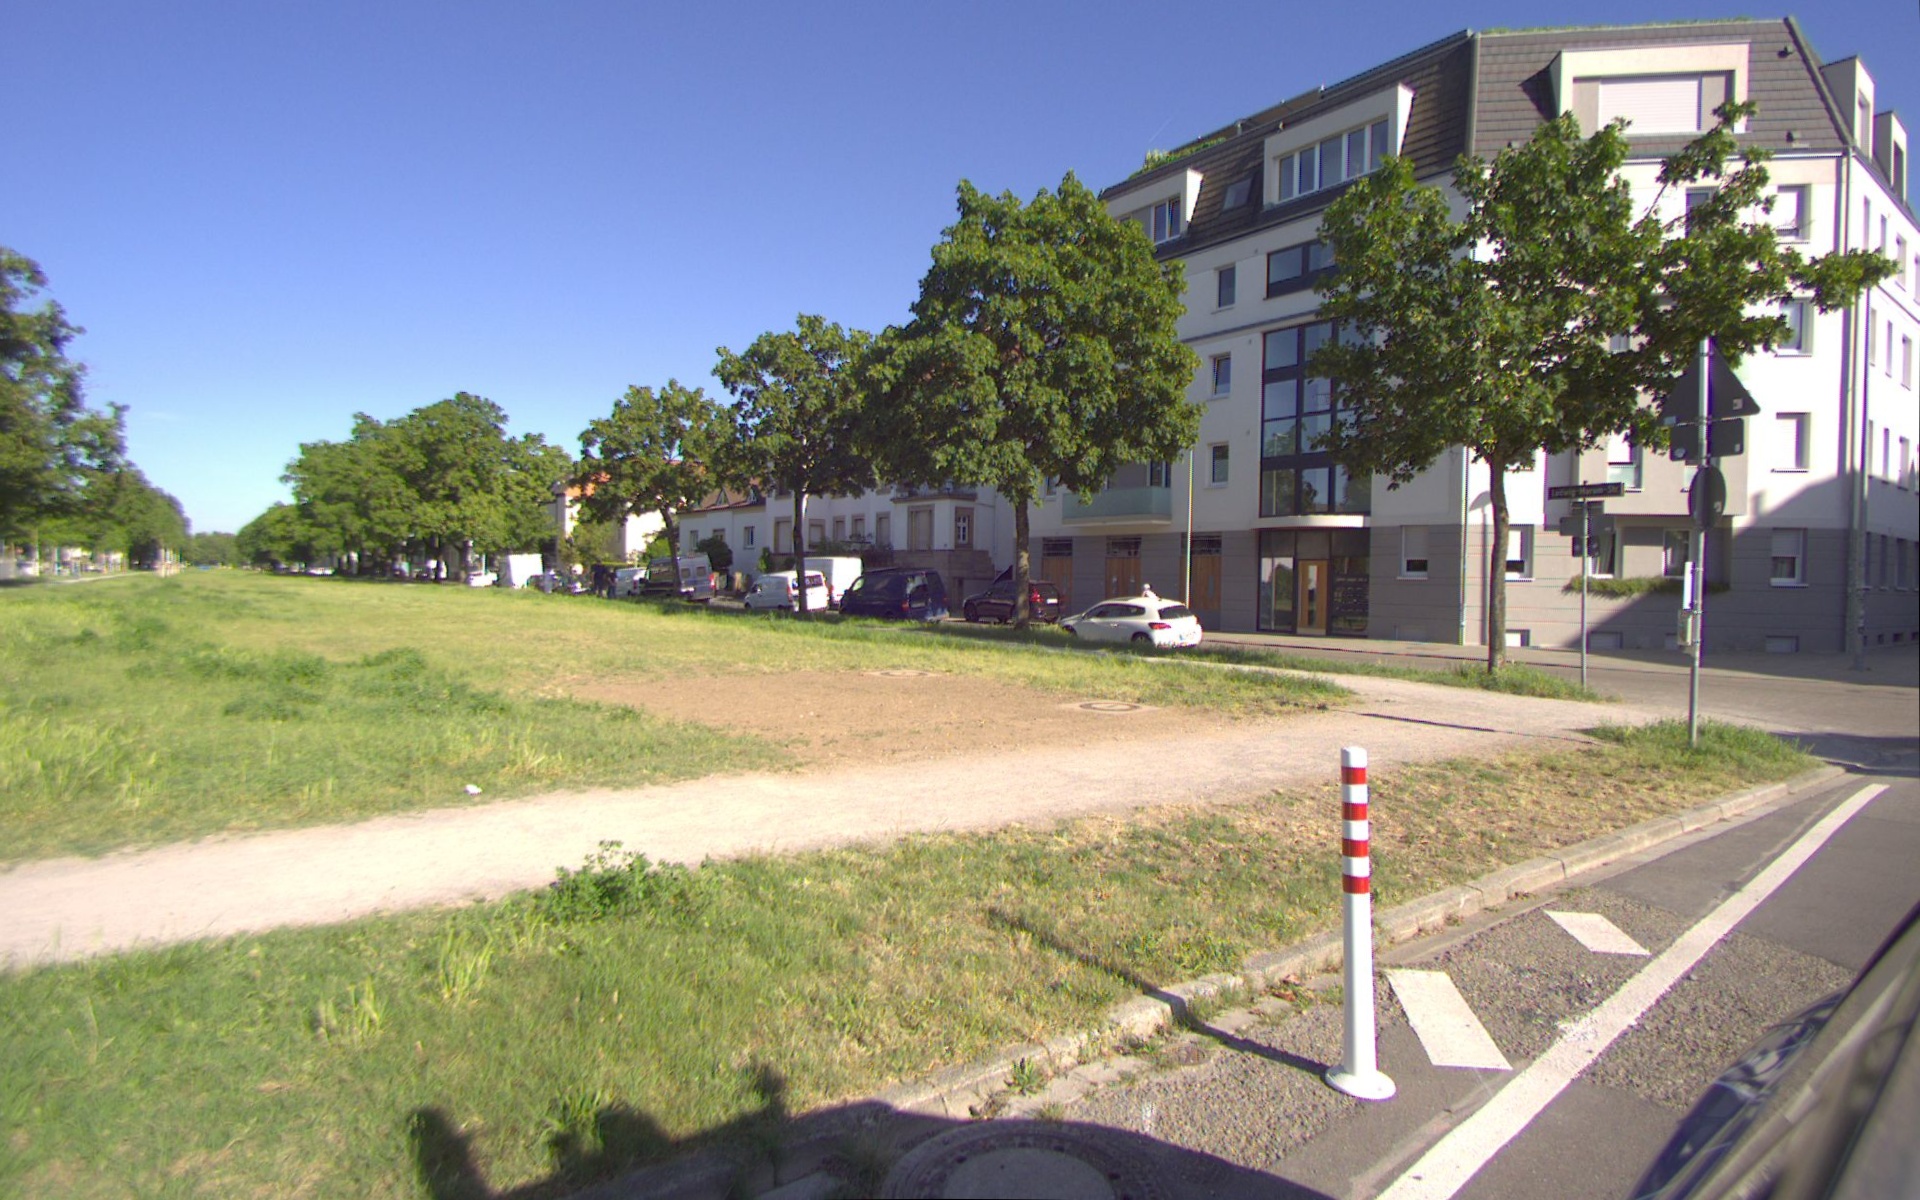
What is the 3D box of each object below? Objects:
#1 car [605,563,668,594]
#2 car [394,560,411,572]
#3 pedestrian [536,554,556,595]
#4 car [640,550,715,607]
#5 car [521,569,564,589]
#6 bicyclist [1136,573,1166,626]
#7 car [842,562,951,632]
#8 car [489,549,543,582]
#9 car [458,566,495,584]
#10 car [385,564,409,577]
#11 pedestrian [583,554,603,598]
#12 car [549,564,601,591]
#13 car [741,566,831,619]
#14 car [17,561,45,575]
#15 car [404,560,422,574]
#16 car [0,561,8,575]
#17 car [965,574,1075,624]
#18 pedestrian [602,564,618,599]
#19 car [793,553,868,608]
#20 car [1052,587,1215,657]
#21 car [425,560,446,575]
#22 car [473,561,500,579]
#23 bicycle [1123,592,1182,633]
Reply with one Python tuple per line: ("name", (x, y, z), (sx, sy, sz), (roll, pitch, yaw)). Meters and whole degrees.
("car", (-17.851, -1.188, 55.735), (2.046, 1.618, 4.288), (0, 2, -36))
("car", (-87.452, -5.311, 158.720), (1.831, 1.868, 3.994), (0, 2, -36))
("pedestrian", (-19.292, -1.204, 47.172), (0.711, 1.900, 0.629), (1, 1, -38))
("car", (-14.011, -1.109, 50.048), (2.153, 2.615, 4.288), (-5, 4, -36))
("car", (-29.233, -1.471, 70.763), (1.898, 1.361, 4.109), (0, 1, -36))
("bicyclist", (5.522, -0.024, 29.270), (0.489, 1.482, 0.686), (0, 1, -44))
("car", (-2.191, -0.169, 34.083), (1.752, 2.108, 3.994), (-5, 4, -36))
("car", (-33.300, -2.587, 75.740), (2.503, 2.363, 5.920), (0, 2, -36))
("car", (-42.259, -2.184, 88.403), (2.042, 1.484, 4.728), (0, 2, -36))
("car", (-69.327, -3.644, 124.688), (2.042, 1.484, 4.728), (0, 2, -36))
("pedestrian", (-15.740, -1.033, 43.410), (0.632, 1.900, 0.629), (1, 1, -38))
("car", (-24.568, -1.432, 64.557), (2.046, 1.618, 4.288), (0, 2, -36))
("car", (-7.071, -0.361, 40.781), (1.842, 1.906, 4.425), (-5, 4, -34))
("car", (-92.541, -3.193, 100.826), (1.689, 1.358, 3.808), (0, 2, -37))
("car", (-79.033, -4.764, 146.263), (1.831, 1.868, 3.994), (0, 2, -36))
("car", (-101.032, -3.382, 105.875), (1.689, 1.358, 3.808), (0, 2, -37))
("car", (2.190, -0.095, 38.082), (1.861, 1.703, 4.289), (-1, 3, -36))
("pedestrian", (-15.074, -0.795, 43.545), (0.487, 1.524, 0.535), (1, 1, -37))
("car", (-6.382, -1.008, 49.716), (1.985, 2.580, 3.994), (-1, 2, -36))
("car", (4.326, 0.494, 25.754), (1.709, 1.450, 3.993), (-5, 5, -37))
("car", (-70.613, -4.387, 136.202), (1.831, 1.868, 3.994), (0, 2, -36))
("car", (-50.558, -3.256, 108.059), (1.831, 1.868, 3.994), (0, 2, -36))
("bicycle", (5.542, 0.336, 29.252), (0.498, 1.102, 1.706), (1, 1, -42))
